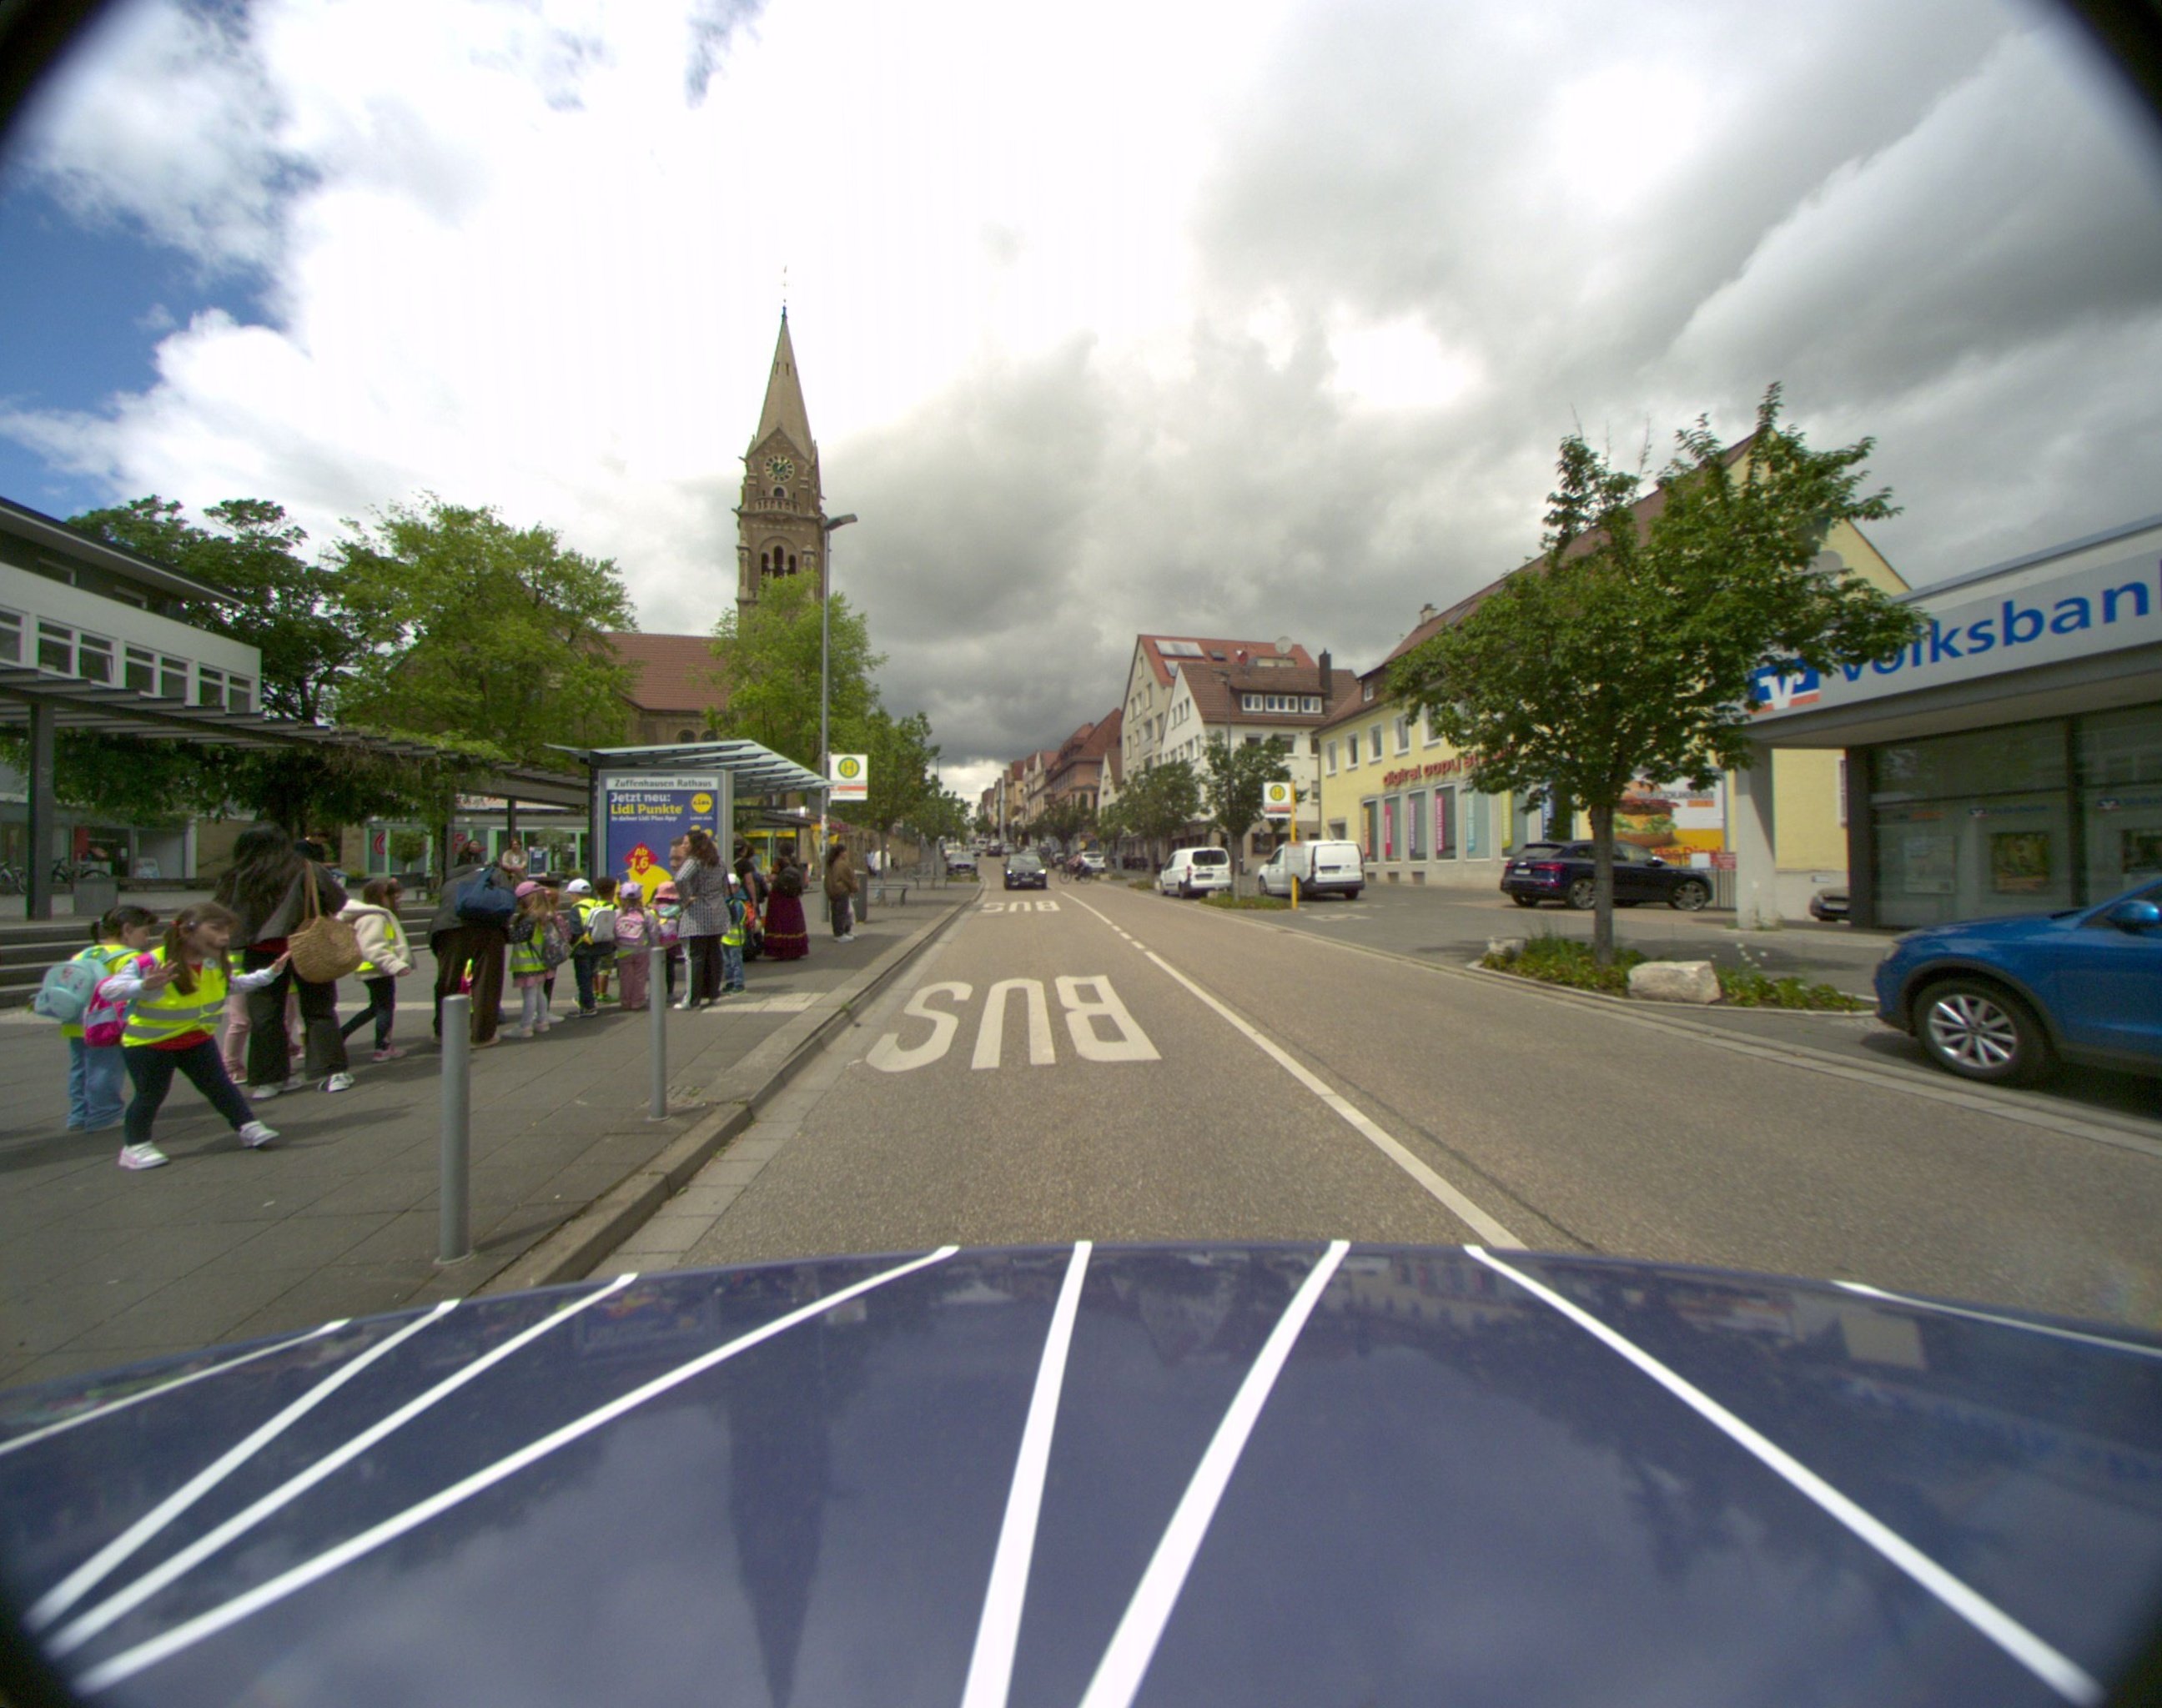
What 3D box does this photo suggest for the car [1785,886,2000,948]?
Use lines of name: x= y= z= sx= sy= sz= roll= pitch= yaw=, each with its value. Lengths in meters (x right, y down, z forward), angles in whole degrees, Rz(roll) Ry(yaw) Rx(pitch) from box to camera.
car: x=20.452 y=1.563 z=19.225 sx=3.999 sy=1.401 sz=1.648 roll=0 pitch=0 yaw=-6

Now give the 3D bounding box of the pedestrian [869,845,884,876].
pedestrian: x=-11.791 y=0.382 z=43.851 sx=0.763 sy=1.720 sz=0.597 roll=2 pitch=1 yaw=-13

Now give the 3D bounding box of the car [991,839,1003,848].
car: x=-14.249 y=-1.804 z=128.349 sx=1.691 sy=1.516 sz=3.524 roll=0 pitch=2 yaw=-11

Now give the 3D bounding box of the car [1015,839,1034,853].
car: x=-6.723 y=-1.025 z=90.472 sx=1.670 sy=1.518 sz=3.957 roll=-2 pitch=3 yaw=-13

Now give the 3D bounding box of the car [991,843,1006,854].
car: x=-10.444 y=-0.730 z=96.164 sx=1.612 sy=1.380 sz=3.625 roll=1 pitch=1 yaw=-9

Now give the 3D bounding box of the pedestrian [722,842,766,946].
pedestrian: x=-5.531 y=0.648 z=12.488 sx=0.513 sy=1.670 sz=0.576 roll=0 pitch=1 yaw=-5

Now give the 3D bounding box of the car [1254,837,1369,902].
car: x=7.180 y=0.430 z=24.222 sx=1.762 sy=1.803 sz=4.473 roll=-2 pitch=1 yaw=-8

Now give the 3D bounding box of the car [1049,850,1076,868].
car: x=-1.640 y=0.407 z=66.085 sx=1.662 sy=1.384 sz=4.438 roll=-1 pitch=2 yaw=-10

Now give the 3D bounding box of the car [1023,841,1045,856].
car: x=-5.180 y=-0.646 z=83.187 sx=1.731 sy=1.565 sz=4.448 roll=-1 pitch=2 yaw=-13

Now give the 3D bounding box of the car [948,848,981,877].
car: x=-7.561 y=0.506 z=49.070 sx=1.935 sy=1.714 sz=4.568 roll=1 pitch=1 yaw=-11

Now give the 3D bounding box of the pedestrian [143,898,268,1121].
pedestrian: x=-5.110 y=0.886 z=4.446 sx=0.324 sy=1.231 sz=0.334 roll=2 pitch=1 yaw=-1

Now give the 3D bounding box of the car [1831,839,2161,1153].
car: x=6.560 y=0.748 z=3.530 sx=1.699 sy=1.590 sz=4.330 roll=-3 pitch=1 yaw=-3

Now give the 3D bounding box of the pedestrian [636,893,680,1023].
pedestrian: x=-3.893 y=0.942 z=6.992 sx=0.294 sy=1.145 sz=0.297 roll=1 pitch=1 yaw=-38

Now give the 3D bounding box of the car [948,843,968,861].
car: x=-13.394 y=-0.218 z=83.194 sx=1.891 sy=1.837 sz=5.025 roll=0 pitch=2 yaw=-6

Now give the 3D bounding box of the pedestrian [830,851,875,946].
pedestrian: x=-3.796 y=0.726 z=12.648 sx=0.513 sy=1.540 sz=0.488 roll=1 pitch=1 yaw=21

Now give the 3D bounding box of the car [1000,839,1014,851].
car: x=-10.848 y=-1.311 z=110.998 sx=1.733 sy=1.670 sz=3.986 roll=-1 pitch=2 yaw=-11

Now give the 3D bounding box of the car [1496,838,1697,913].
car: x=11.836 y=0.458 z=17.559 sx=3.638 sy=1.549 sz=1.667 roll=-1 pitch=1 yaw=-7

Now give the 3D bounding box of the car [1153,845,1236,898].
car: x=3.935 y=0.557 z=26.972 sx=1.662 sy=1.662 sz=4.347 roll=-2 pitch=1 yaw=-9

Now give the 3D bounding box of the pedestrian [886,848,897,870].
pedestrian: x=-13.442 y=0.355 z=53.788 sx=0.590 sy=1.515 sz=0.584 roll=0 pitch=1 yaw=3

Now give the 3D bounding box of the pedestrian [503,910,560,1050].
pedestrian: x=-4.359 y=0.987 z=6.032 sx=0.252 sy=1.063 sz=0.251 roll=2 pitch=1 yaw=11

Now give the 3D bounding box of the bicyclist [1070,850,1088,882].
bicyclist: x=-0.121 y=0.617 z=39.560 sx=0.778 sy=1.685 sz=0.509 roll=-1 pitch=1 yaw=-19

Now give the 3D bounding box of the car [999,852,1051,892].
car: x=-2.576 y=0.765 z=34.444 sx=1.896 sy=1.516 sz=3.730 roll=-2 pitch=3 yaw=-11

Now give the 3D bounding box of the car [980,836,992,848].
car: x=-14.661 y=-1.917 z=117.031 sx=1.752 sy=1.792 sz=4.207 roll=1 pitch=1 yaw=-10

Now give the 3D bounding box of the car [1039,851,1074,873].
car: x=-1.896 y=0.602 z=57.493 sx=1.846 sy=1.443 sz=4.509 roll=-2 pitch=2 yaw=-13

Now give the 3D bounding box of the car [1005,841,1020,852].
car: x=-9.397 y=-1.003 z=103.762 sx=1.733 sy=1.423 sz=3.498 roll=-1 pitch=2 yaw=-11

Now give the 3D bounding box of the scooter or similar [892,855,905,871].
scooter or similar: x=-13.080 y=0.642 z=54.441 sx=0.814 sy=1.066 sz=0.560 roll=1 pitch=2 yaw=1

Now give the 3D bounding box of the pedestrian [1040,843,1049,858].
pedestrian: x=-4.268 y=-0.429 z=88.847 sx=0.873 sy=1.657 sz=0.905 roll=-1 pitch=3 yaw=-13

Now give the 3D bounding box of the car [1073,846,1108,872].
car: x=0.613 y=0.285 z=50.999 sx=1.671 sy=1.637 sz=4.130 roll=-2 pitch=1 yaw=-8

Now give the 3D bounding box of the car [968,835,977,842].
car: x=-22.732 y=-3.313 z=159.446 sx=1.687 sy=1.492 sz=4.148 roll=0 pitch=2 yaw=-11

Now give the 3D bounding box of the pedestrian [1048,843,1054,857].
pedestrian: x=-3.442 y=-0.480 z=87.717 sx=0.616 sy=1.573 sz=0.641 roll=-1 pitch=3 yaw=-13
